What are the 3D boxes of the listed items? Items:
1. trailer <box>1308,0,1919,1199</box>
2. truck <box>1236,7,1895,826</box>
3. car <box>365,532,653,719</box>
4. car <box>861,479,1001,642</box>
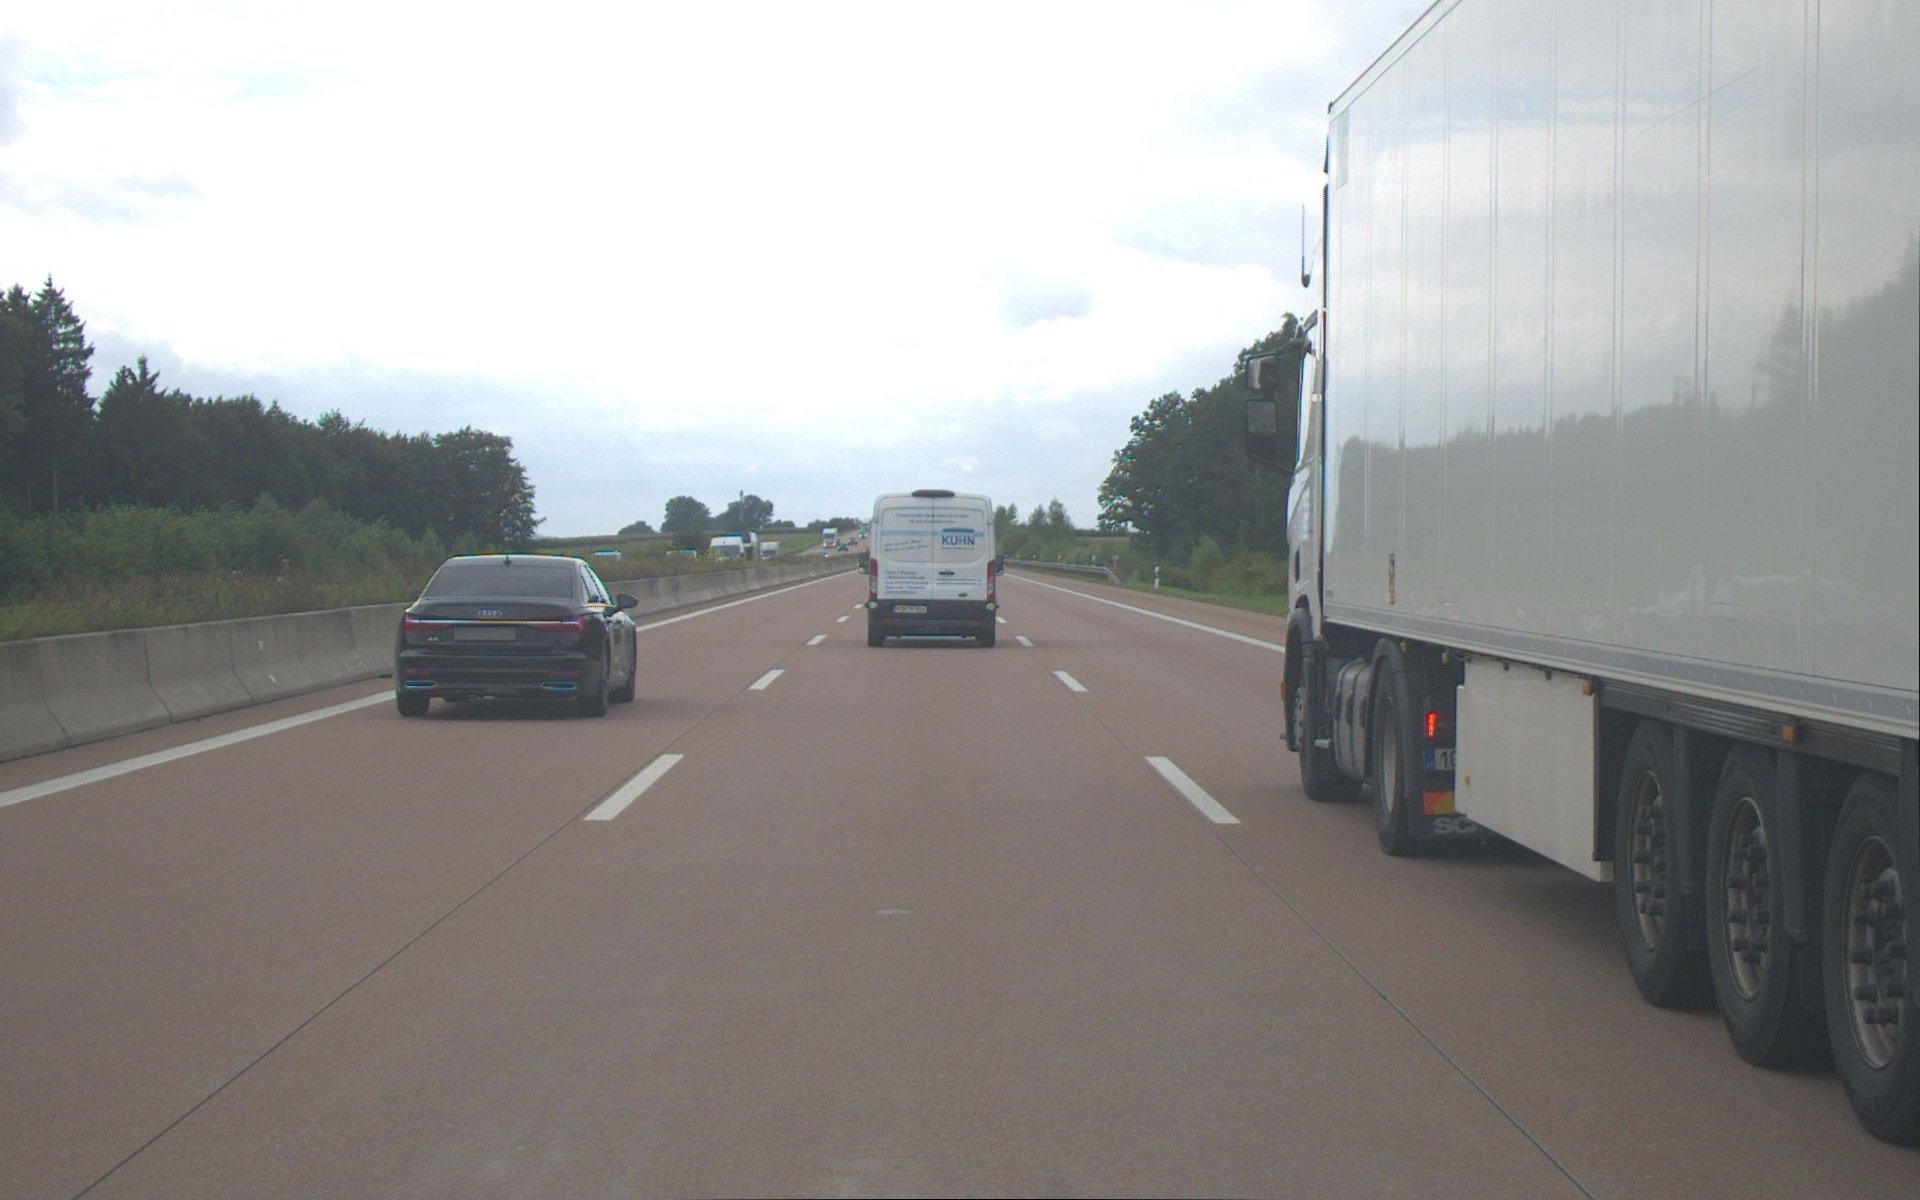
[{"bbox_3d":[3.529,-0.836,12.428,2.921,4.279,13.615,0,1,-1],"label":"trailer"},{"bbox_3d":[3.390,-0.998,20.698,2.921,4.279,5.335,0,1,-1],"label":"truck"},{"bbox_3d":[-4.121,0.164,32.307,2.085,1.545,5.675,1,1,-2],"label":"car"},{"bbox_3d":[-0.459,-0.688,56.259,2.137,2.498,7.132,0,1,0],"label":"car"}]
